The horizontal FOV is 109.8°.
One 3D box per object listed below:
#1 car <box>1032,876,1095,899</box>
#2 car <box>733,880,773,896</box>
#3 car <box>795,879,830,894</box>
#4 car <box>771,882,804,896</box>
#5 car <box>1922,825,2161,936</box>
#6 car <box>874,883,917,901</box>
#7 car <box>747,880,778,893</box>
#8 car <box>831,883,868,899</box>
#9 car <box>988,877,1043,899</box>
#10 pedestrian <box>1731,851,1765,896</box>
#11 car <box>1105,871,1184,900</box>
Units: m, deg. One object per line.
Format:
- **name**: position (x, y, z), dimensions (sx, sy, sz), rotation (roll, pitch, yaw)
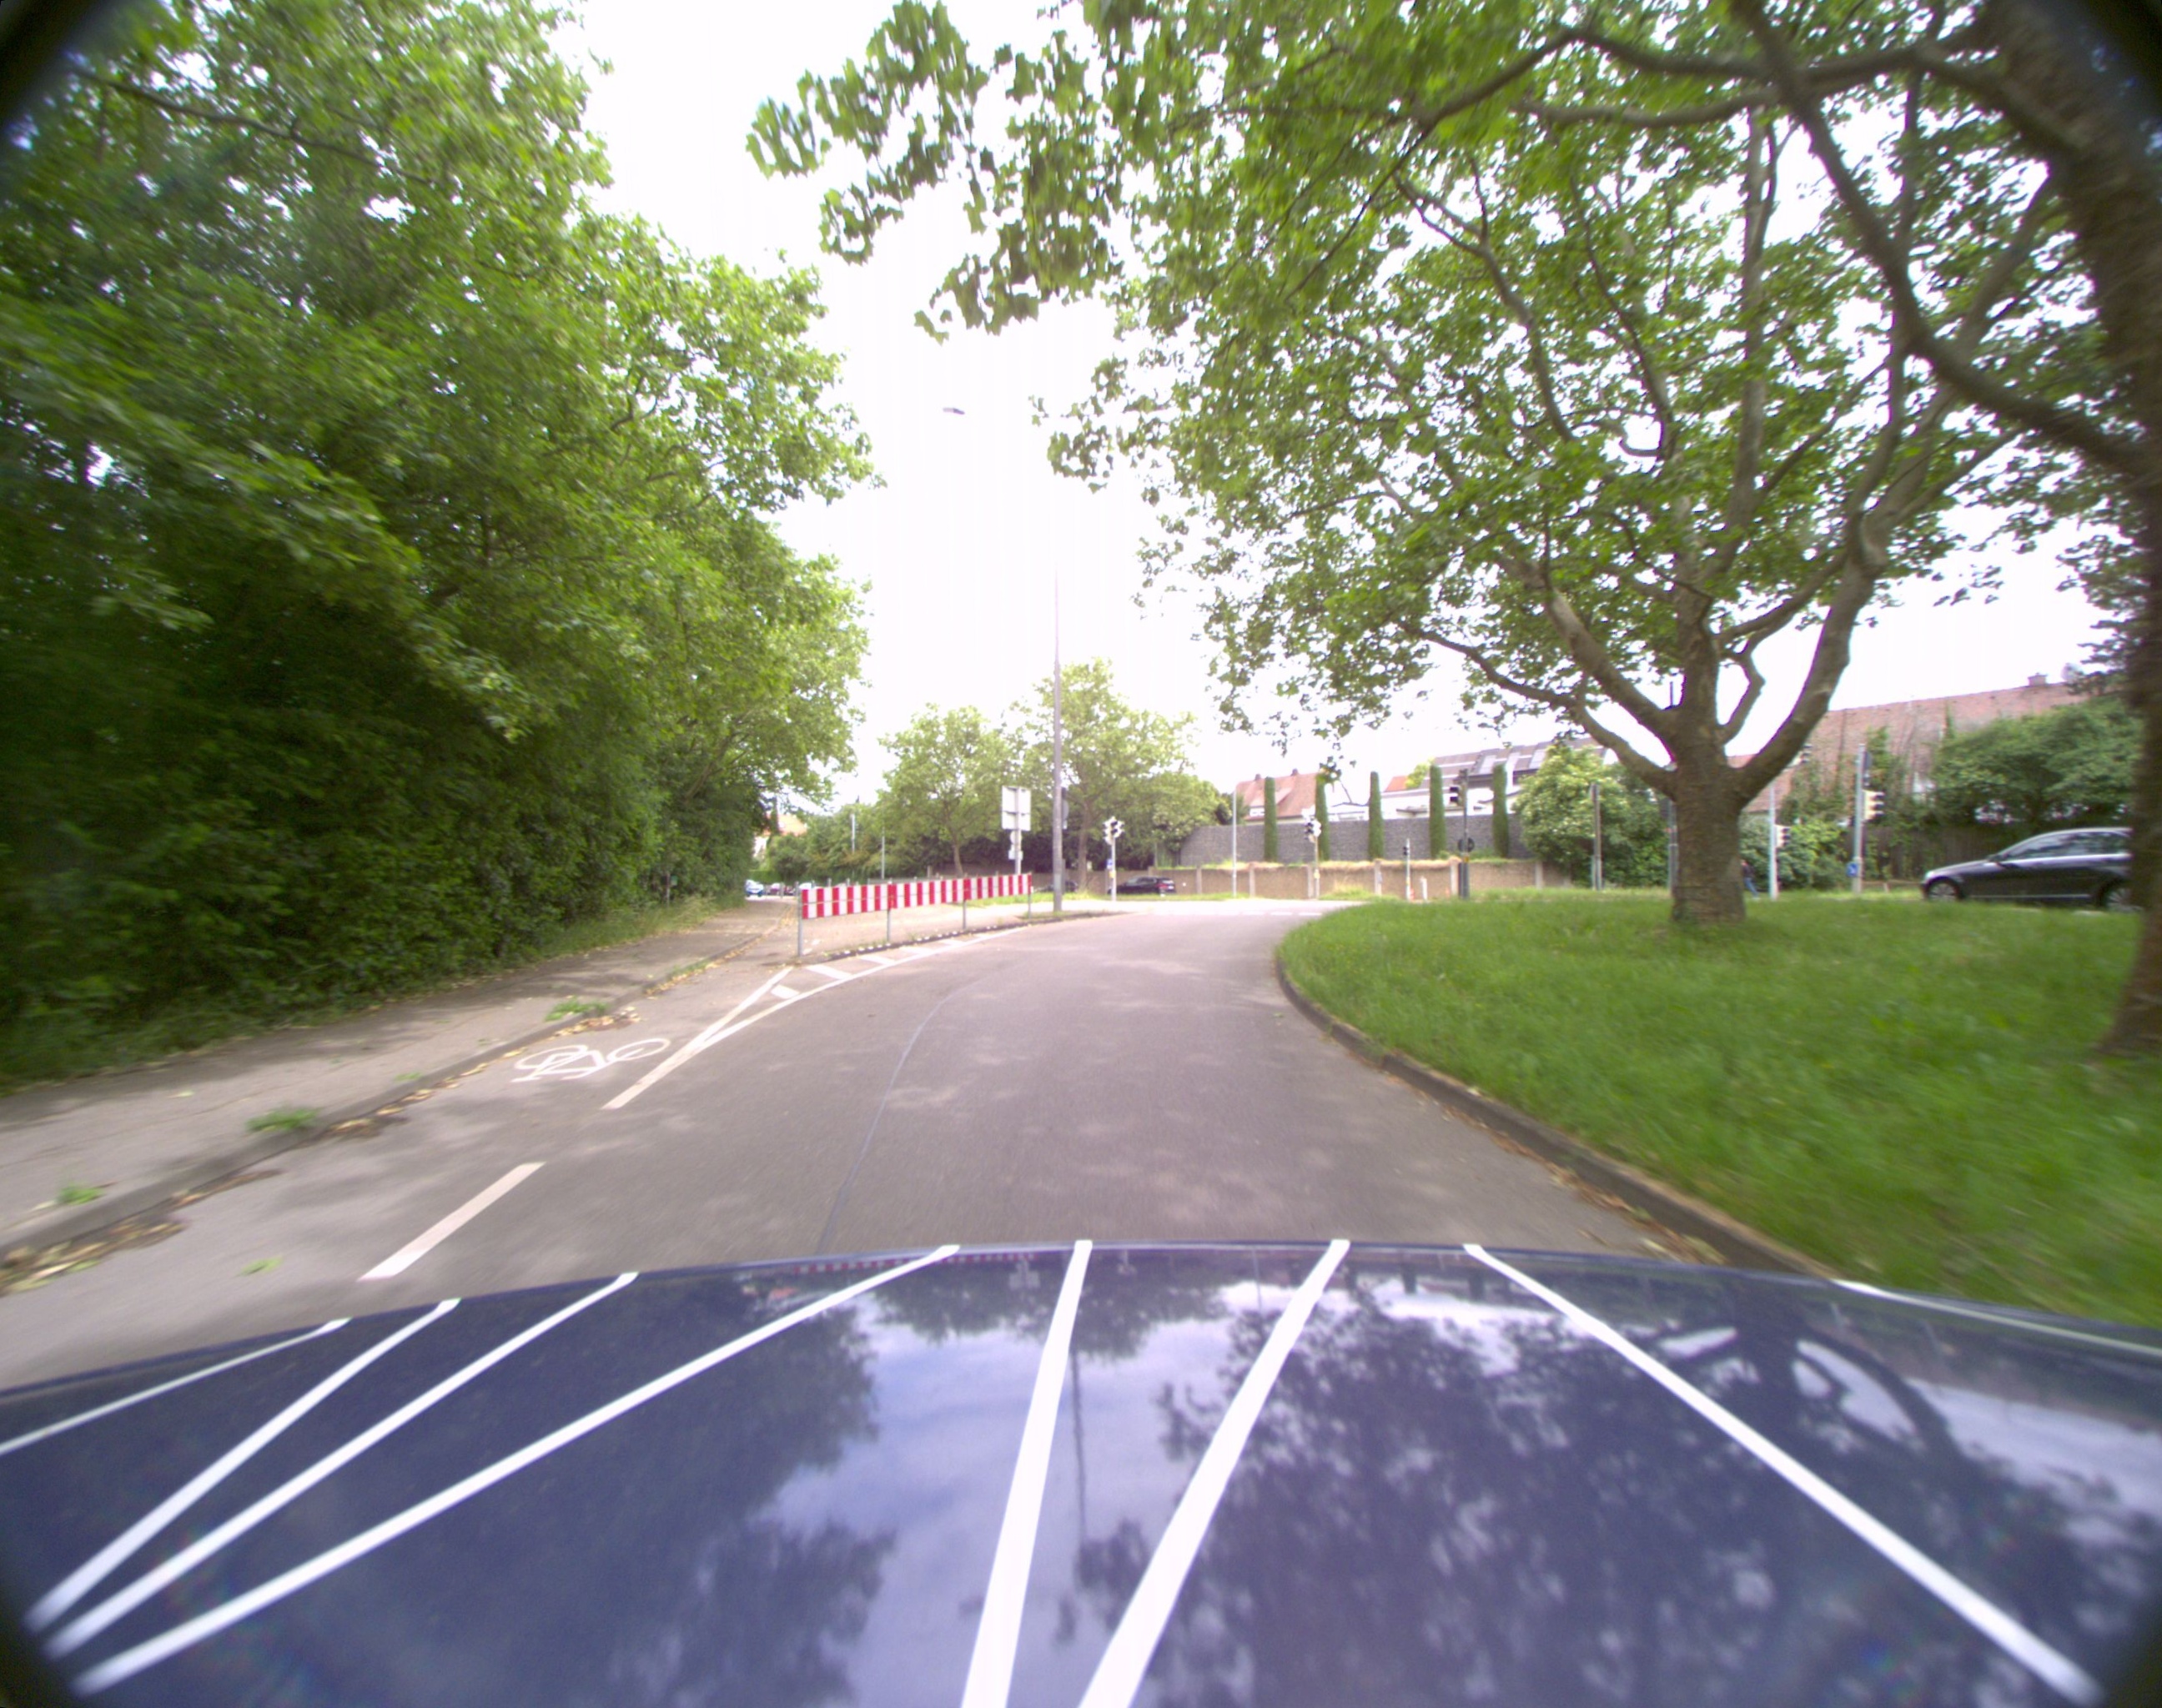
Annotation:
- **car**: position (-1.315, 2.490, 56.147), dimensions (4.449, 1.605, 1.802), rotation (-2, -5, 38)
- **car**: position (-30.619, 3.177, 70.838), dimensions (4.136, 1.419, 1.802), rotation (-2, -5, 42)
- **car**: position (-28.016, 3.416, 79.283), dimensions (3.821, 1.495, 1.691), rotation (-2, -5, 41)
- **car**: position (-32.130, 3.841, 83.146), dimensions (3.821, 1.495, 1.691), rotation (-2, -5, 41)
- **car**: position (15.812, 0.333, 11.600), dimensions (1.760, 1.508, 4.391), rotation (-1, 0, 12)
- **car**: position (-17.073, 3.490, 69.825), dimensions (4.027, 1.593, 1.802), rotation (-2, -3, 42)
- **car**: position (-36.565, 3.726, 87.178), dimensions (3.821, 1.495, 1.691), rotation (-2, -5, 41)
- **car**: position (-22.817, 3.612, 74.898), dimensions (3.821, 1.495, 1.691), rotation (-2, -5, 41)
- **car**: position (-5.155, 2.699, 59.826), dimensions (4.206, 1.605, 1.802), rotation (-2, -5, 40)
- **pedestrian**: position (30.186, 0.898, 34.401), dimensions (0.853, 2.001, 0.954), rotation (-1, -1, 22)
- **car**: position (3.819, 1.938, 46.088), dimensions (4.454, 1.621, 1.851), rotation (-3, -4, 37)
